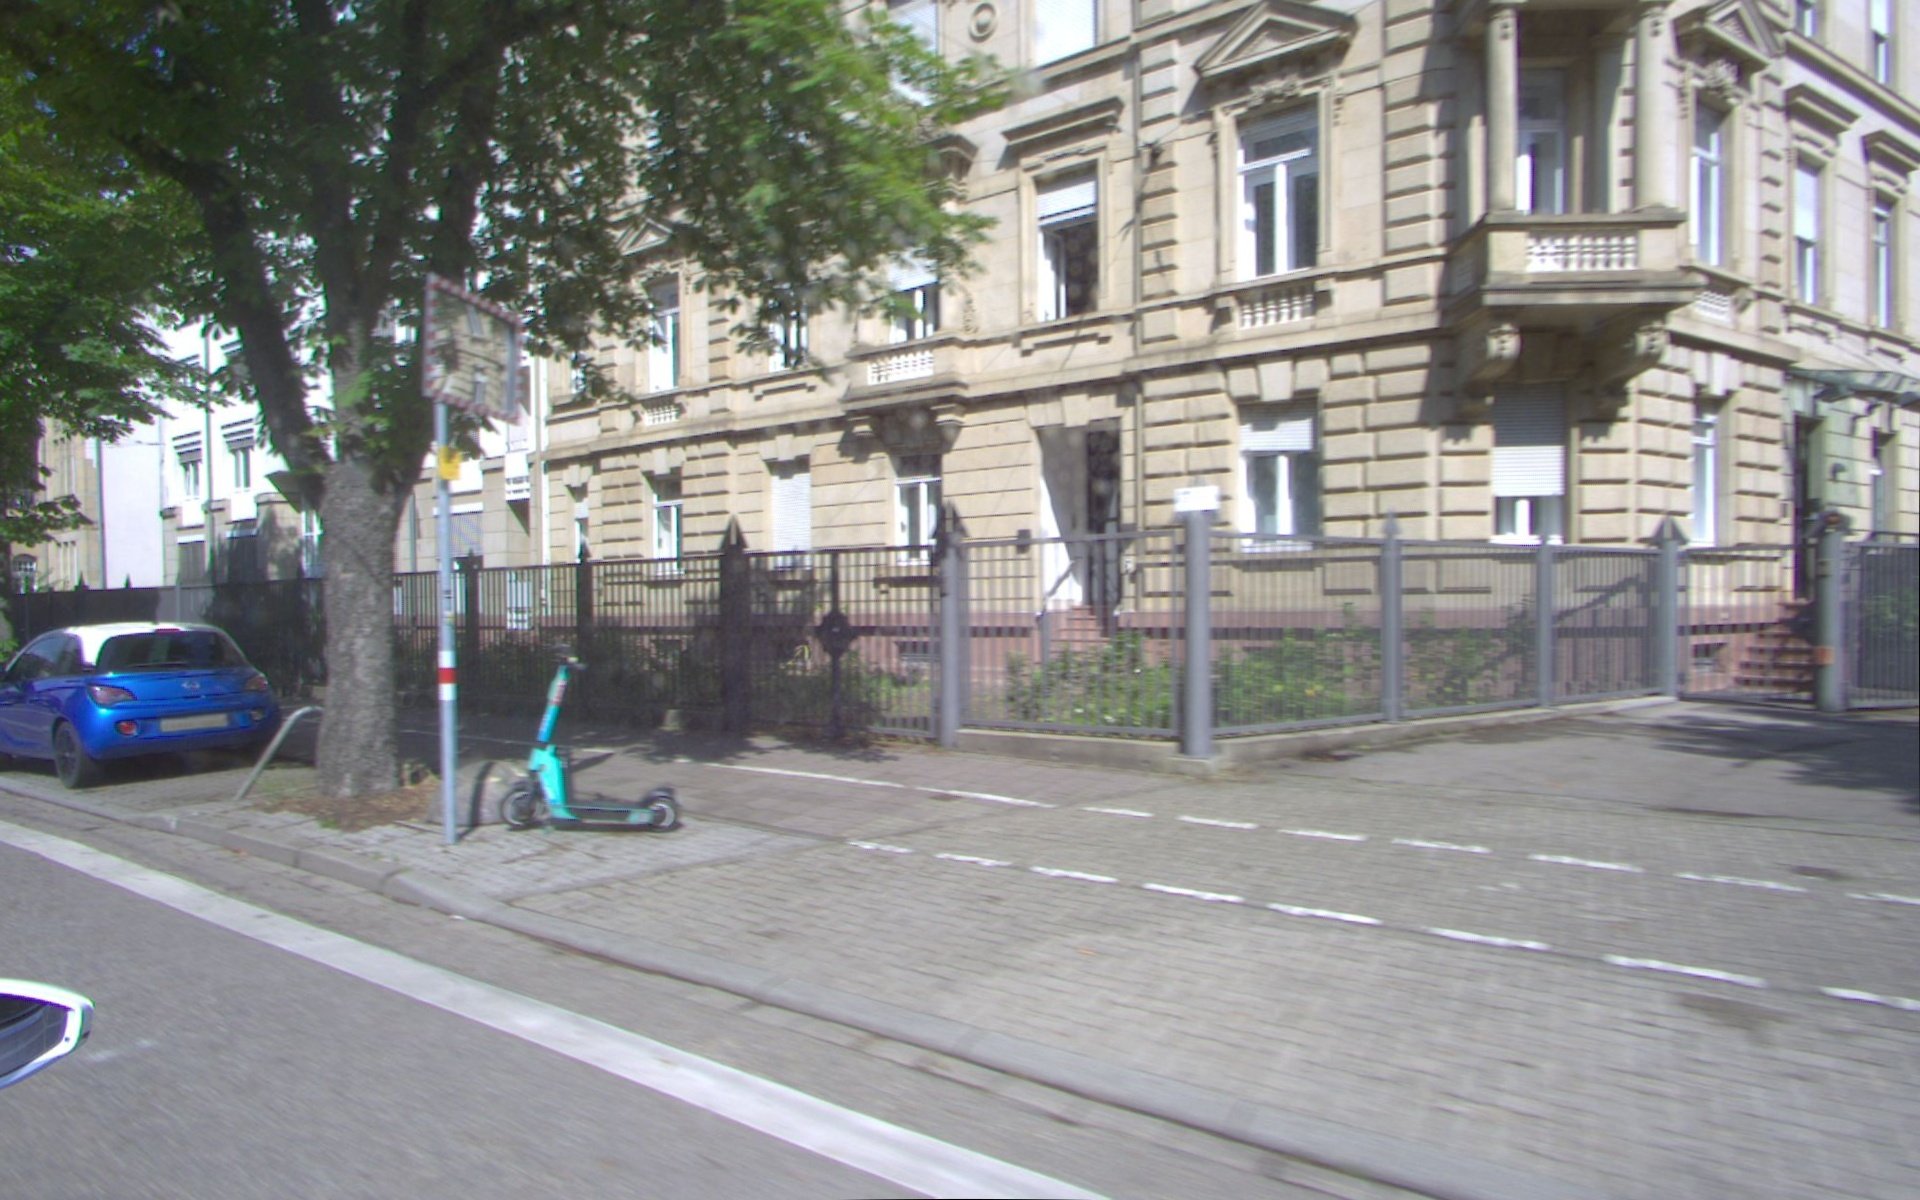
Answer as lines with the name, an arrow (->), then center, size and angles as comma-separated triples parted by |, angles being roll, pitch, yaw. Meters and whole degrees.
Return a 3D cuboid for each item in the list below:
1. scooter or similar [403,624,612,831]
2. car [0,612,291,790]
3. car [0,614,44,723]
scooter or similar -> -3.016, 0.839, 6.734 | 1.159, 1.318, 0.441 | 0, 4, 2
car -> -8.804, 0.913, 10.458 | 3.574, 1.516, 1.636 | -1, 1, 31
car -> -15.272, 1.003, 14.734 | 3.702, 1.516, 1.636 | -1, 1, 31
